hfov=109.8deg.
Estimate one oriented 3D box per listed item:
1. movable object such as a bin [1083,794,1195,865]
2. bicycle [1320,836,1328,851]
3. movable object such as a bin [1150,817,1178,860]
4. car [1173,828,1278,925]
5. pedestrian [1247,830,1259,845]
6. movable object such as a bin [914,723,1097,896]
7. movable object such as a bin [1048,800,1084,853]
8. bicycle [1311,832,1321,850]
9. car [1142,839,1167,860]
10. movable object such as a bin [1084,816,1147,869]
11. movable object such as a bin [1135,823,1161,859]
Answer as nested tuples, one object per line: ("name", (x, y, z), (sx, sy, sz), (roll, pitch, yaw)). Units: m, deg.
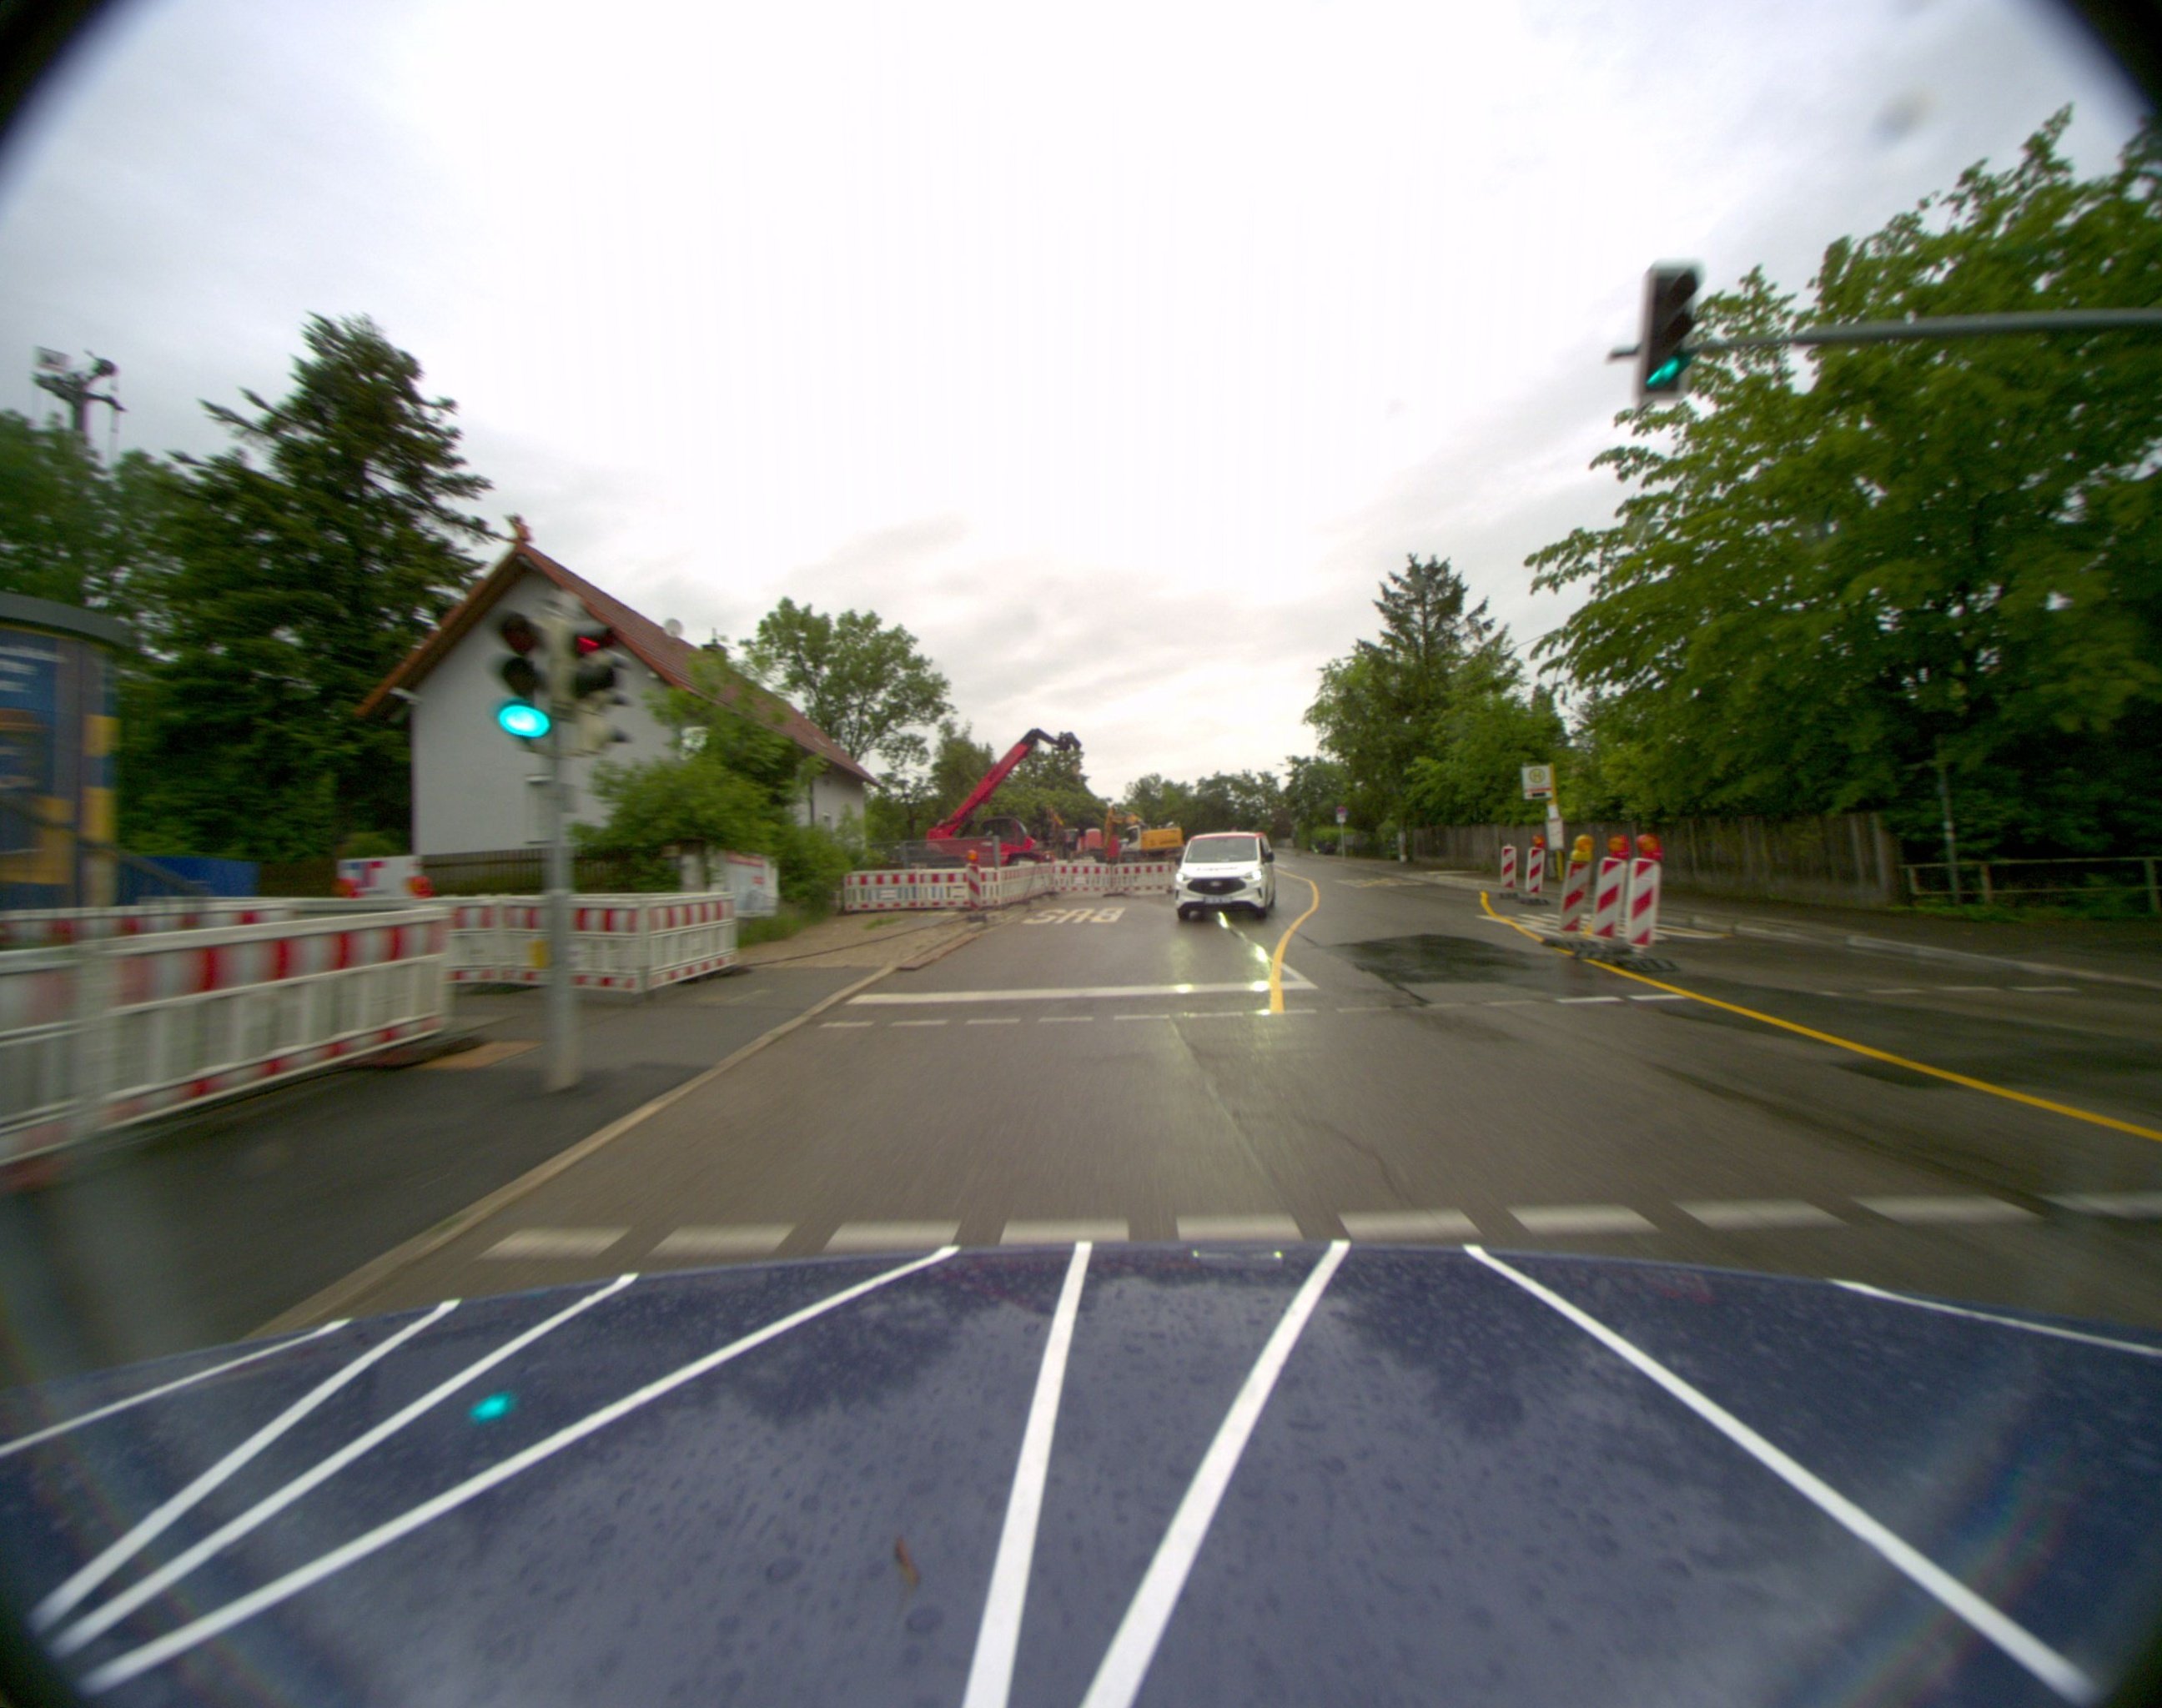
("movable object such as a bin", (4.230, -1.926, 58.862), (3.071, 4.893, 10.792), (-5, 4, -28))
("bicycle", (18.530, -0.832, 57.962), (0.338, 1.101, 1.256), (-3, 2, 8))
("movable object such as a bin", (6.853, -1.302, 62.738), (1.998, 3.288, 3.834), (-3, 4, 4))
("car", (3.645, 0.458, 18.372), (1.996, 2.002, 4.955), (1, 0, 16))
("pedestrian", (20.420, -1.946, 90.215), (0.926, 1.757, 0.979), (-3, 0, -21))
("movable object such as a bin", (-3.058, -1.821, 32.483), (6.965, 6.652, 3.045), (-3, 2, 4))
("movable object such as a bin", (-1.131, -2.076, 59.545), (1.998, 3.866, 4.618), (-3, 1, 6))
("bicycle", (18.964, -1.055, 61.224), (0.421, 1.342, 1.743), (-3, 2, 8))
("car", (6.854, -0.472, 70.515), (1.997, 1.769, 4.999), (-3, 1, 8))
("movable object such as a bin", (2.336, -0.750, 52.372), (3.997, 3.183, 2.409), (-4, -4, -1))
("movable object such as a bin", (7.068, -1.343, 80.677), (2.081, 3.205, 5.288), (-4, -5, 0))
